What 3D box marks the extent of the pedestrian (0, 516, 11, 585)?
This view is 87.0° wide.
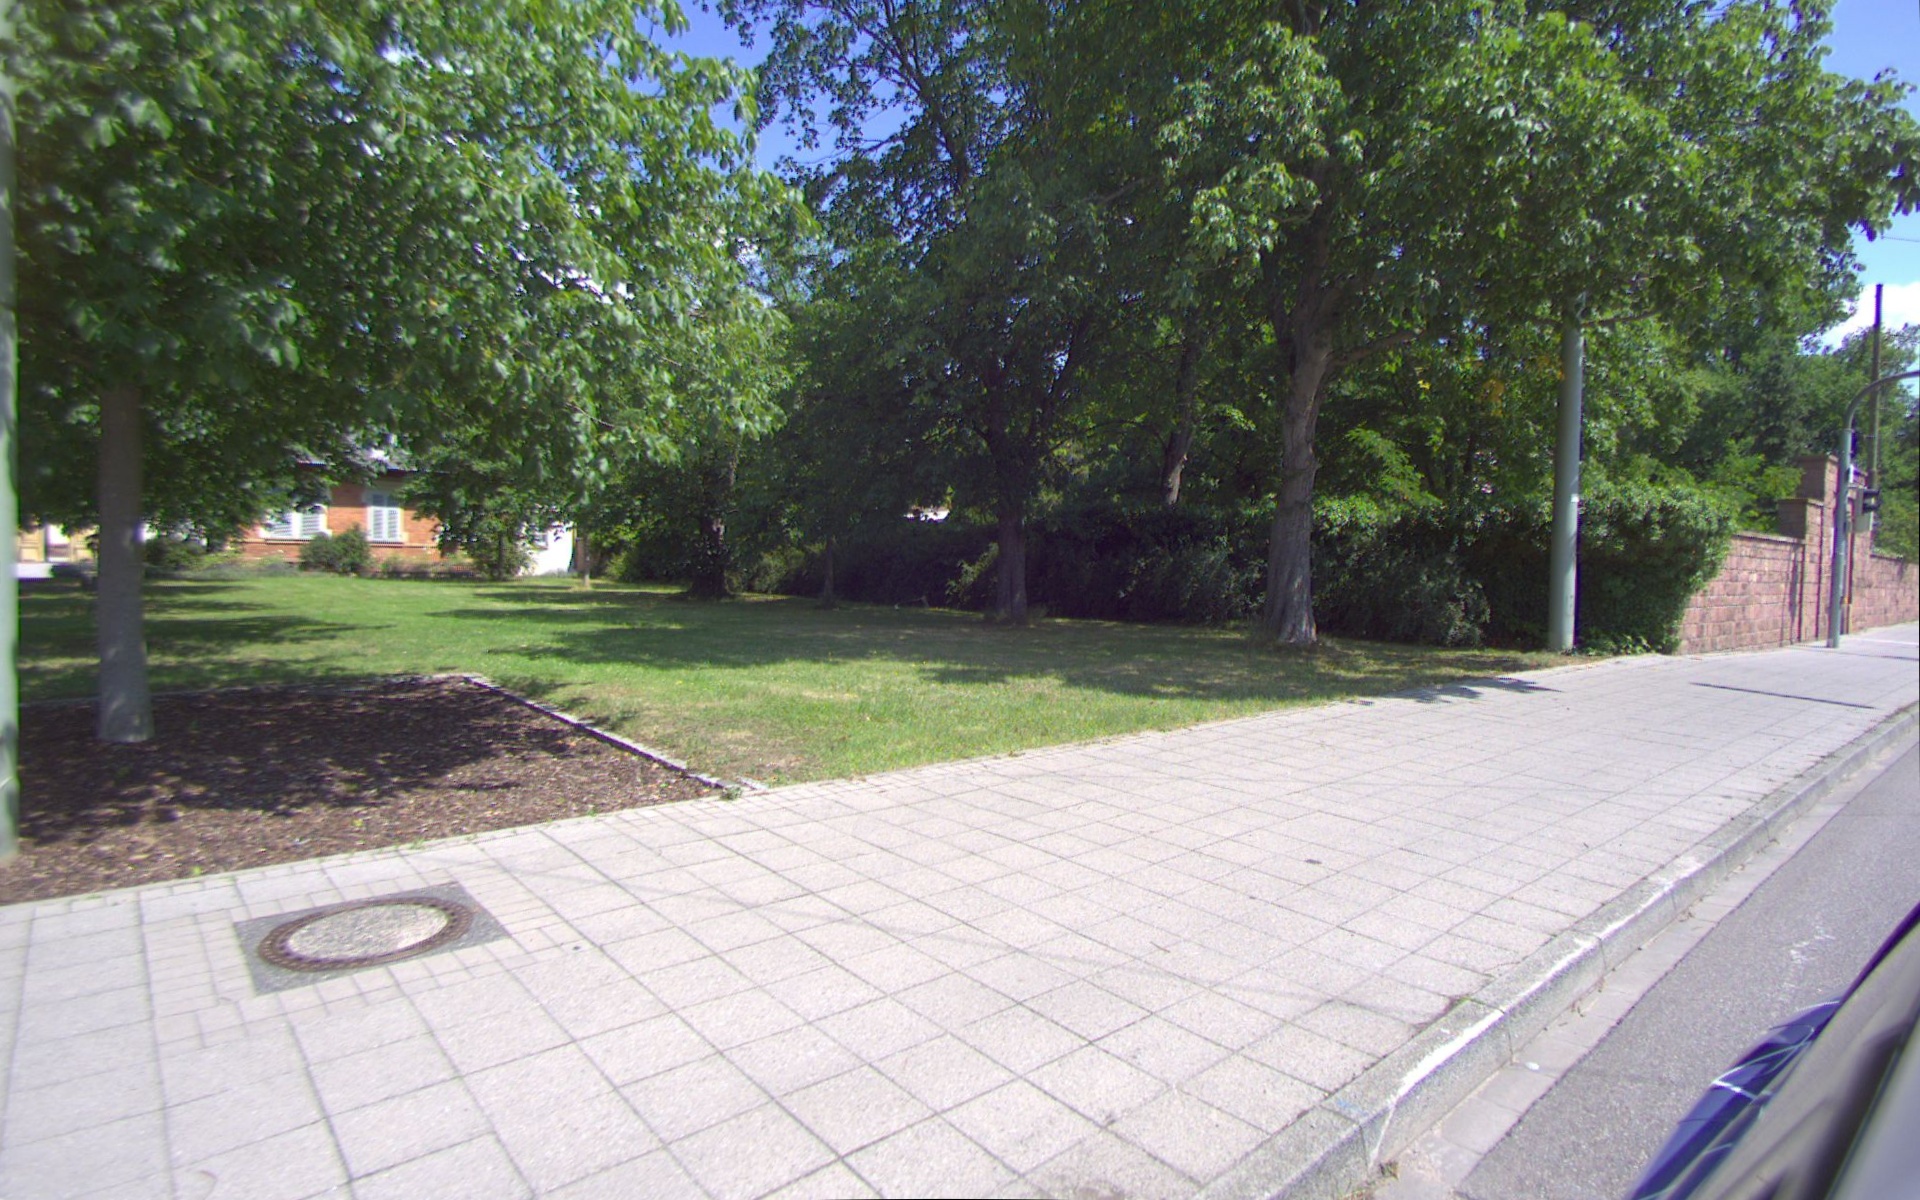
[{"bbox_3d":[-25.789,-1.329,26.860,0.794,1.820,0.678,0,2,-36],"label":"pedestrian"}]
